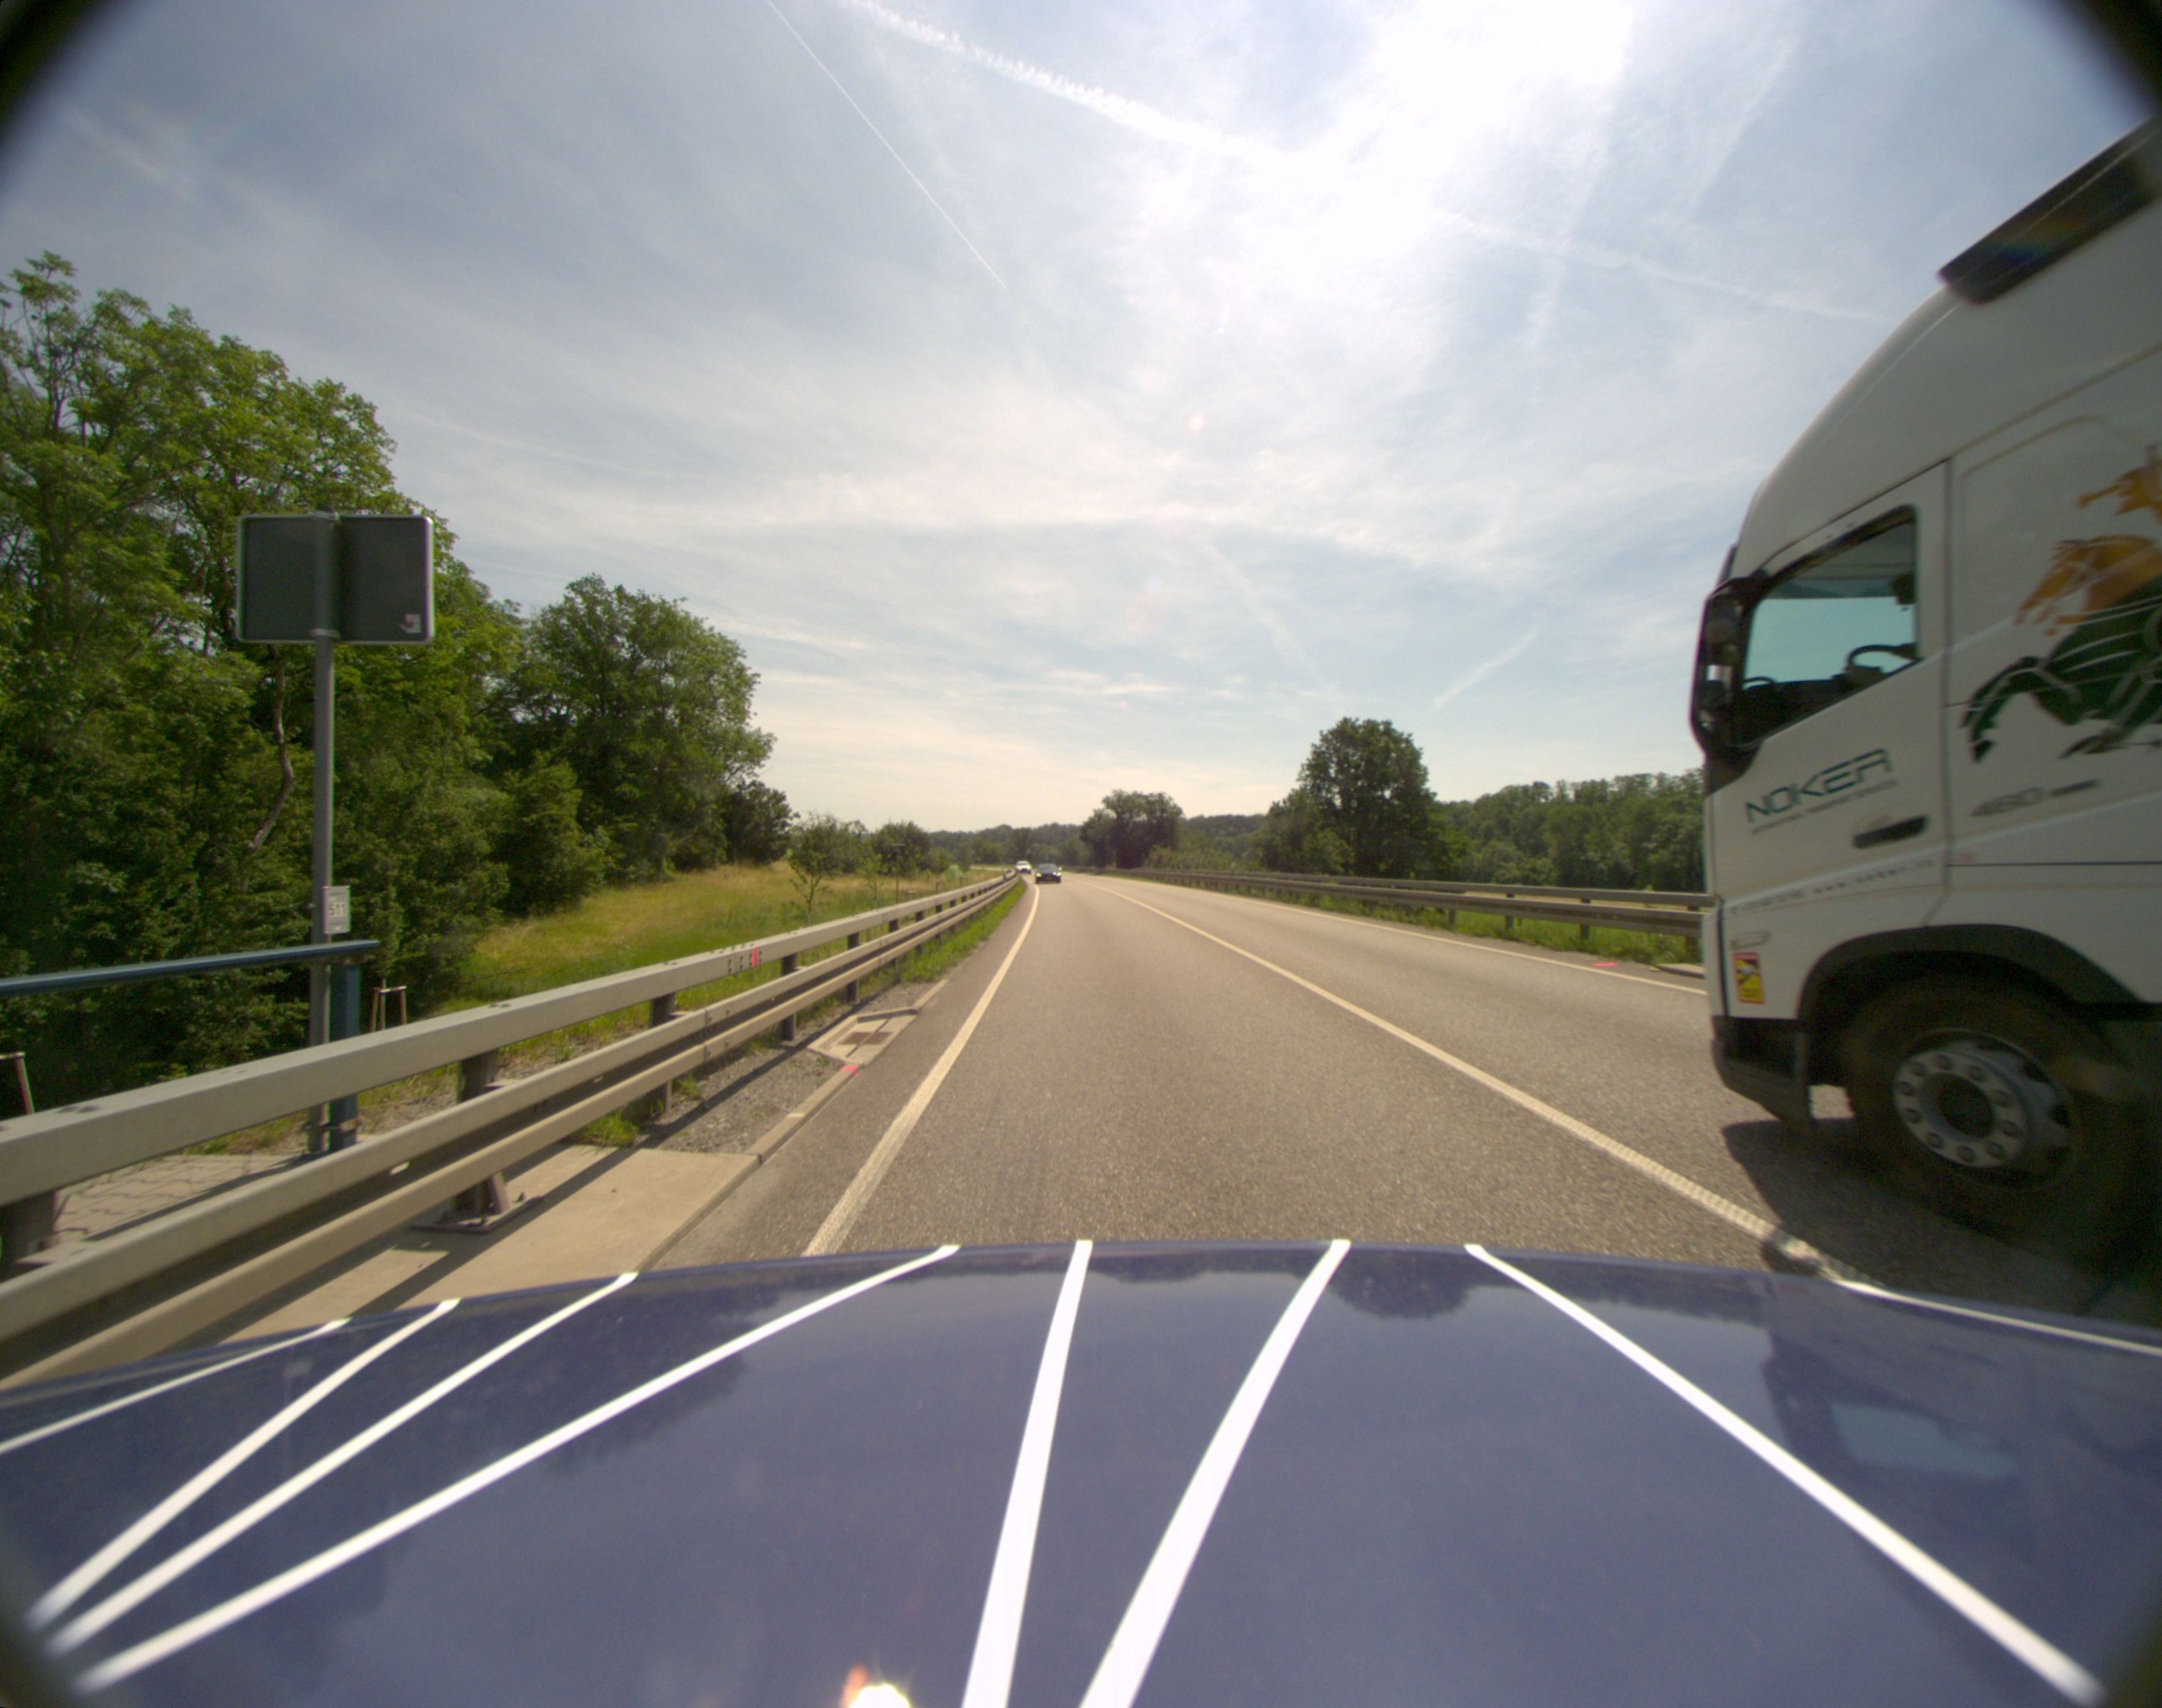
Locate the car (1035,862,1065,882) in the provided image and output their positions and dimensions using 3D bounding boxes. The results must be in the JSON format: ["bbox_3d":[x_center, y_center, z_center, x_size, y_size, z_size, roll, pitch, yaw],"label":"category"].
[{"bbox_3d":[-2.296,1.311,55.974,1.981,1.333,3.998,-2,0,-5],"label":"car"}]

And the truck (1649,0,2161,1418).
[{"bbox_3d":[4.521,-0.471,0.925,2.853,4.135,6.332,-2,-1,1],"label":"truck"}]

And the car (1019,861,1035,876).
[{"bbox_3d":[-7.019,1.819,98.266,1.981,1.779,3.998,-2,0,-5],"label":"car"}]
